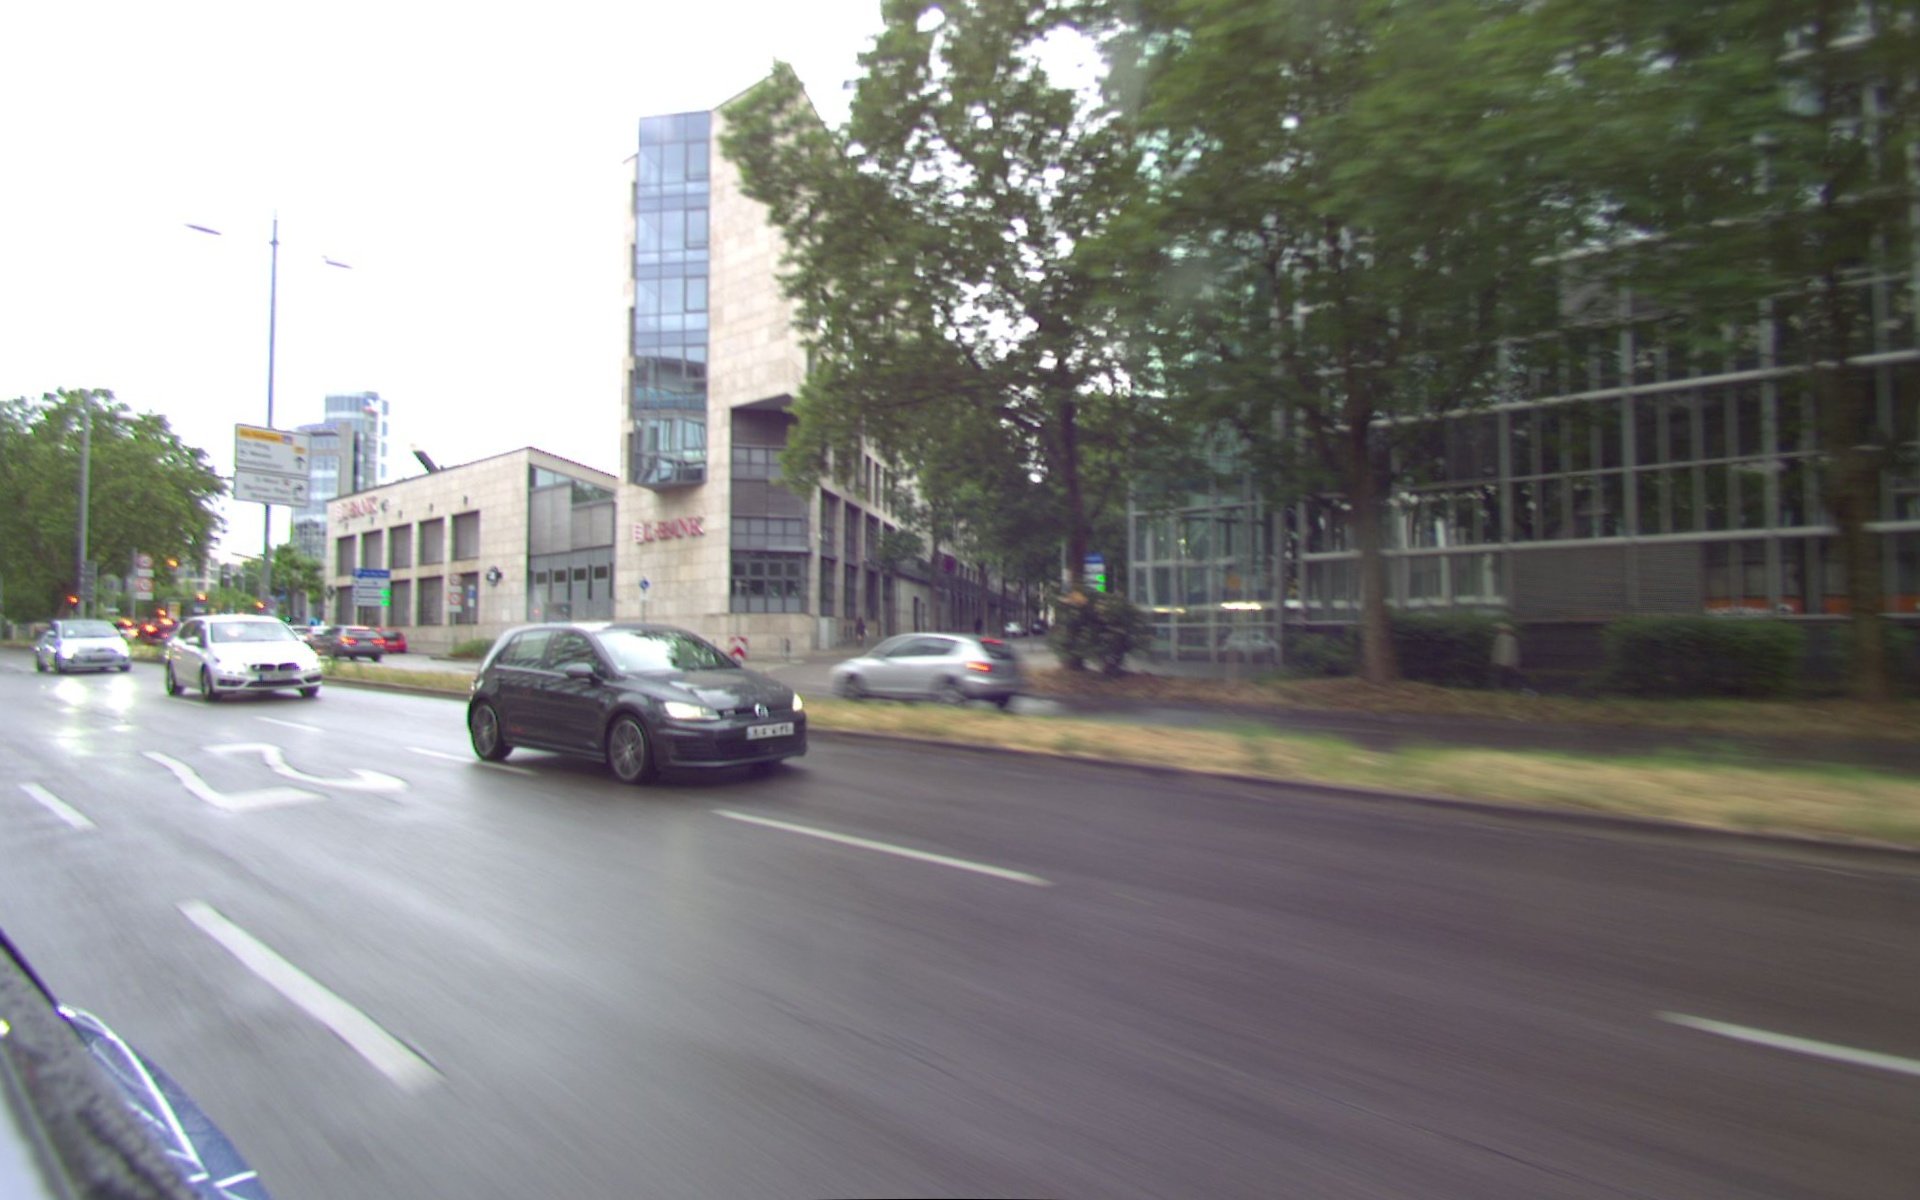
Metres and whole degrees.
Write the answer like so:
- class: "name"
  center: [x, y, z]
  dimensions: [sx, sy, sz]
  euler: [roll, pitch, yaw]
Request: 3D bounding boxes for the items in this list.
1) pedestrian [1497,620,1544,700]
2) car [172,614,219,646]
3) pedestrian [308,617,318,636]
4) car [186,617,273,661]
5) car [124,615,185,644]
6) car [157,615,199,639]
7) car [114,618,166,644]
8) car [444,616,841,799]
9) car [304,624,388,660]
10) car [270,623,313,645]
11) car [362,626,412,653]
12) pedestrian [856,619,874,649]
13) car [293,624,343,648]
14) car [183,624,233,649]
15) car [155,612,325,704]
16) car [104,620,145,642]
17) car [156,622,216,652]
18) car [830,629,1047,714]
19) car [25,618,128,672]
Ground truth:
- class: "pedestrian"
  center: [13.101, 1.398, 23.661]
  dimensions: [0.802, 1.821, 0.727]
  euler: [-2, -3, 41]
- class: "car"
  center: [-50.479, 1.955, 66.769]
  dimensions: [1.809, 2.017, 5.108]
  euler: [3, -3, -44]
- class: "pedestrian"
  center: [-67.277, 2.719, 105.281]
  dimensions: [1.125, 1.939, 0.582]
  euler: [-2, -2, 41]
- class: "car"
  center: [-30.329, 1.593, 41.975]
  dimensions: [4.678, 1.693, 1.854]
  euler: [-1, -3, 41]
- class: "car"
  center: [-42.526, 1.556, 53.415]
  dimensions: [4.580, 1.448, 1.682]
  euler: [-1, -3, 41]
- class: "car"
  center: [-55.378, 1.893, 71.676]
  dimensions: [1.810, 1.652, 4.094]
  euler: [3, -3, -45]
- class: "car"
  center: [-47.933, 1.787, 59.115]
  dimensions: [4.314, 1.453, 1.839]
  euler: [-2, -2, 44]
- class: "car"
  center: [-3.280, 0.929, 10.120]
  dimensions: [4.117, 1.463, 1.767]
  euler: [-1, -2, 38]
- class: "car"
  center: [-26.258, 1.763, 43.240]
  dimensions: [4.757, 1.449, 1.673]
  euler: [-1, -3, 41]
- class: "car"
  center: [-46.482, 2.355, 70.356]
  dimensions: [1.726, 1.426, 4.297]
  euler: [3, -3, -44]
- class: "car"
  center: [-31.984, 2.181, 56.463]
  dimensions: [1.574, 1.426, 3.403]
  euler: [3, -3, -44]
- class: "pedestrian"
  center: [-5.193, 1.866, 55.370]
  dimensions: [0.815, 1.582, 0.664]
  euler: [-2, -3, 19]
- class: "car"
  center: [-41.497, 2.304, 65.393]
  dimensions: [1.727, 1.426, 4.708]
  euler: [3, -3, -44]
- class: "car"
  center: [-45.691, 2.220, 61.456]
  dimensions: [4.397, 1.443, 1.707]
  euler: [-1, -3, 44]
- class: "car"
  center: [-14.038, 1.063, 19.663]
  dimensions: [3.997, 1.608, 1.758]
  euler: [-1, -2, 41]
- class: "car"
  center: [-53.694, 1.981, 65.031]
  dimensions: [1.727, 1.375, 3.946]
  euler: [3, -3, -44]
- class: "car"
  center: [-36.794, 1.741, 48.090]
  dimensions: [4.117, 1.370, 1.579]
  euler: [-1, -3, 43]
- class: "car"
  center: [-0.482, 1.341, 19.647]
  dimensions: [4.076, 1.475, 1.645]
  euler: [-1, -5, 39]
- class: "car"
  center: [-25.835, 1.279, 29.565]
  dimensions: [3.488, 1.452, 1.593]
  euler: [-1, 0, 38]
